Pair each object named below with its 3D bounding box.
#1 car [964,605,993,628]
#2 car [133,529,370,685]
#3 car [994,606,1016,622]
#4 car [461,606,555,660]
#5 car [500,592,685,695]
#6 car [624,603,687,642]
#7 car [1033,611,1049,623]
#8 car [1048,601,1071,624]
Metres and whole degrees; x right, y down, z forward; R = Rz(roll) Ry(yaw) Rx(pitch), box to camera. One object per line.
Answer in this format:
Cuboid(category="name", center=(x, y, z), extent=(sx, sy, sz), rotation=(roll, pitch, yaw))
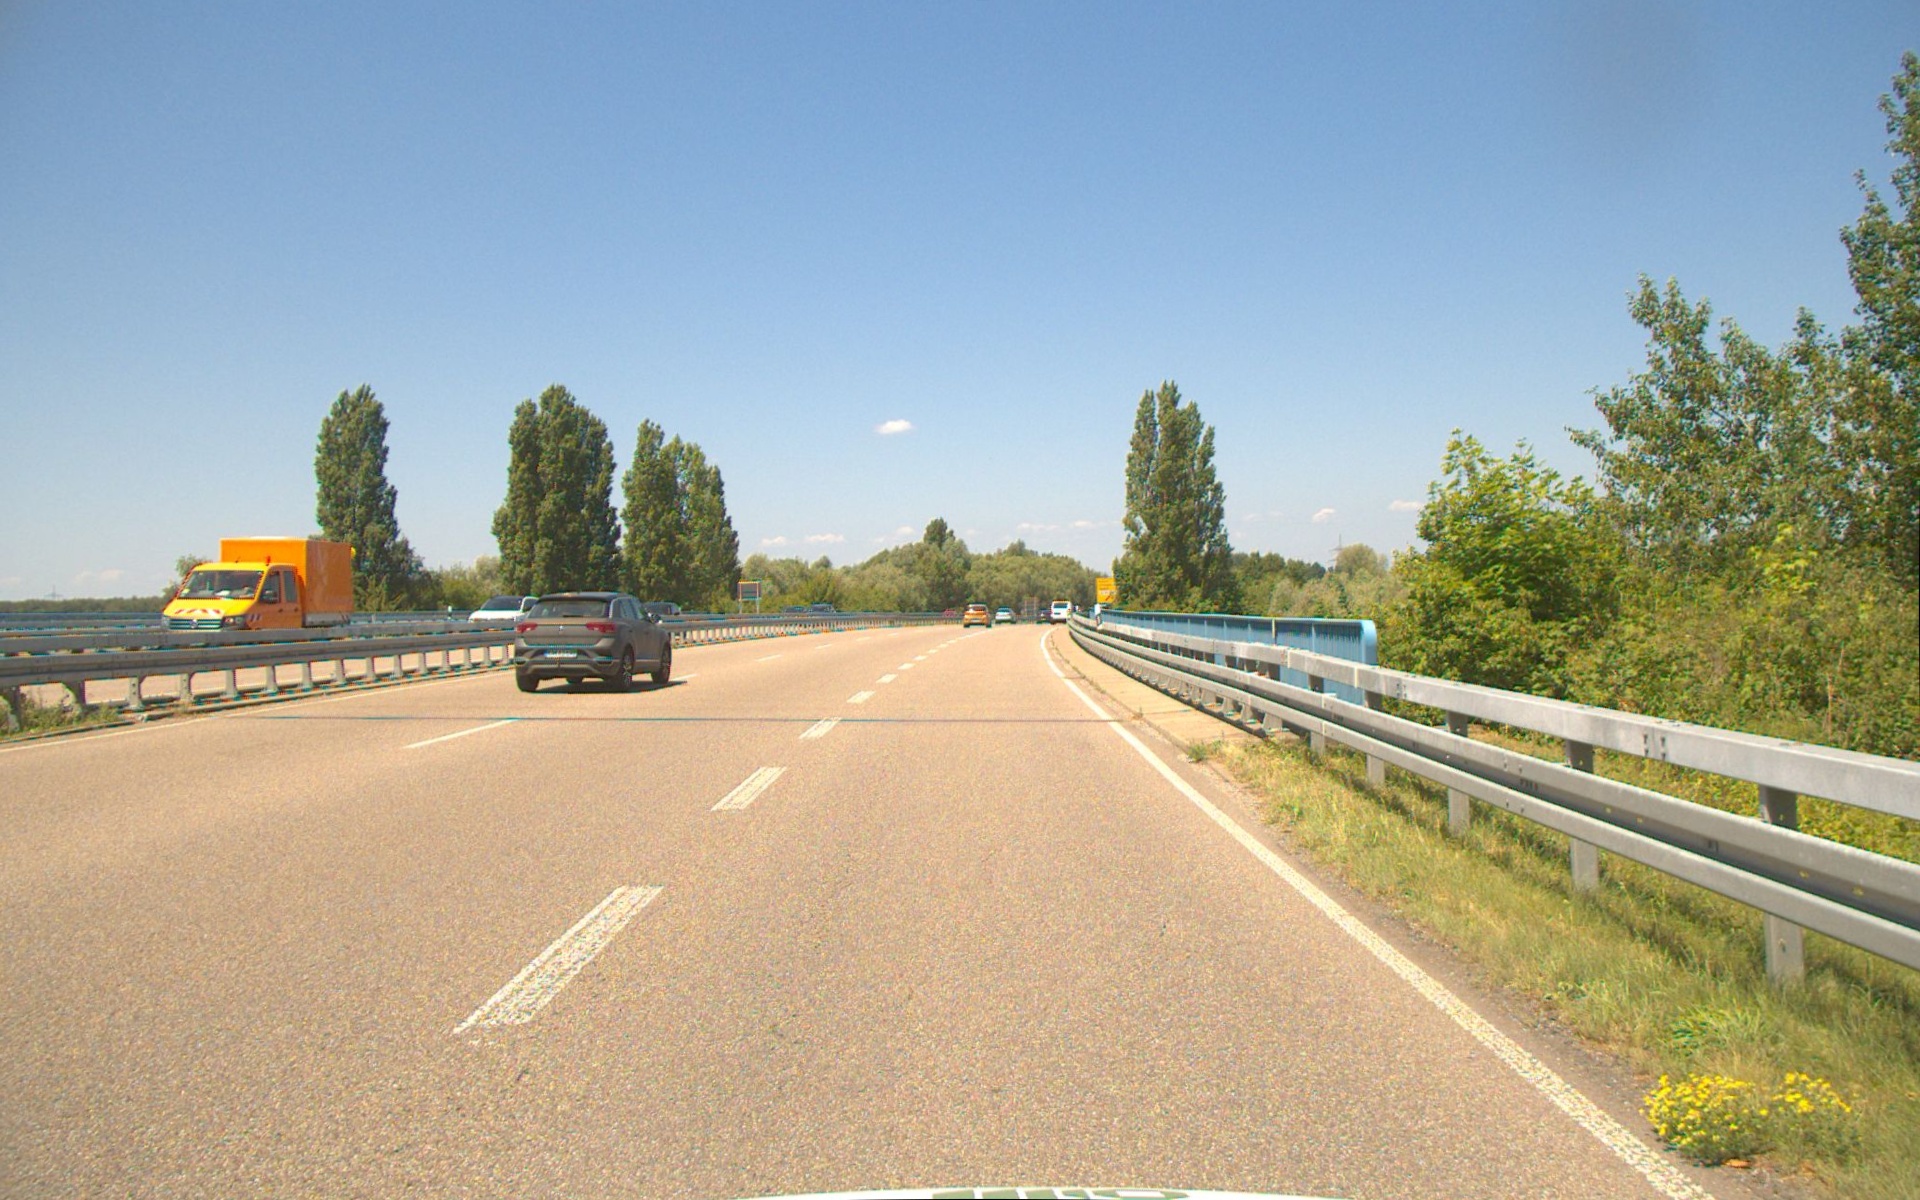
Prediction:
Cuboid(category="car", center=(1.200, 1.062, 108.258), extent=(1.803, 1.489, 4.000), rotation=(0, 0, 0))
Cuboid(category="car", center=(-16.692, 0.158, 39.548), extent=(2.257, 3.349, 7.031), rotation=(-1, 0, 3))
Cuboid(category="car", center=(4.454, 1.382, 163.548), extent=(1.802, 1.476, 4.003), rotation=(0, 0, 7))
Cuboid(category="car", center=(-16.175, 1.180, 59.417), extent=(1.814, 1.850, 4.796), rotation=(-1, -1, 3))
Cuboid(category="car", center=(-5.984, 0.657, 27.447), extent=(1.802, 1.556, 4.472), rotation=(0, 0, 4))
Cuboid(category="car", center=(-12.106, 0.903, 66.017), extent=(1.689, 1.454, 3.948), rotation=(-1, -1, 1))
Cuboid(category="car", center=(10.025, 2.076, 205.057), extent=(1.903, 1.489, 4.002), rotation=(0, 0, 4))
Cuboid(category="car", center=(8.536, 1.074, 142.211), extent=(1.802, 1.928, 4.003), rotation=(0, 0, 5))
